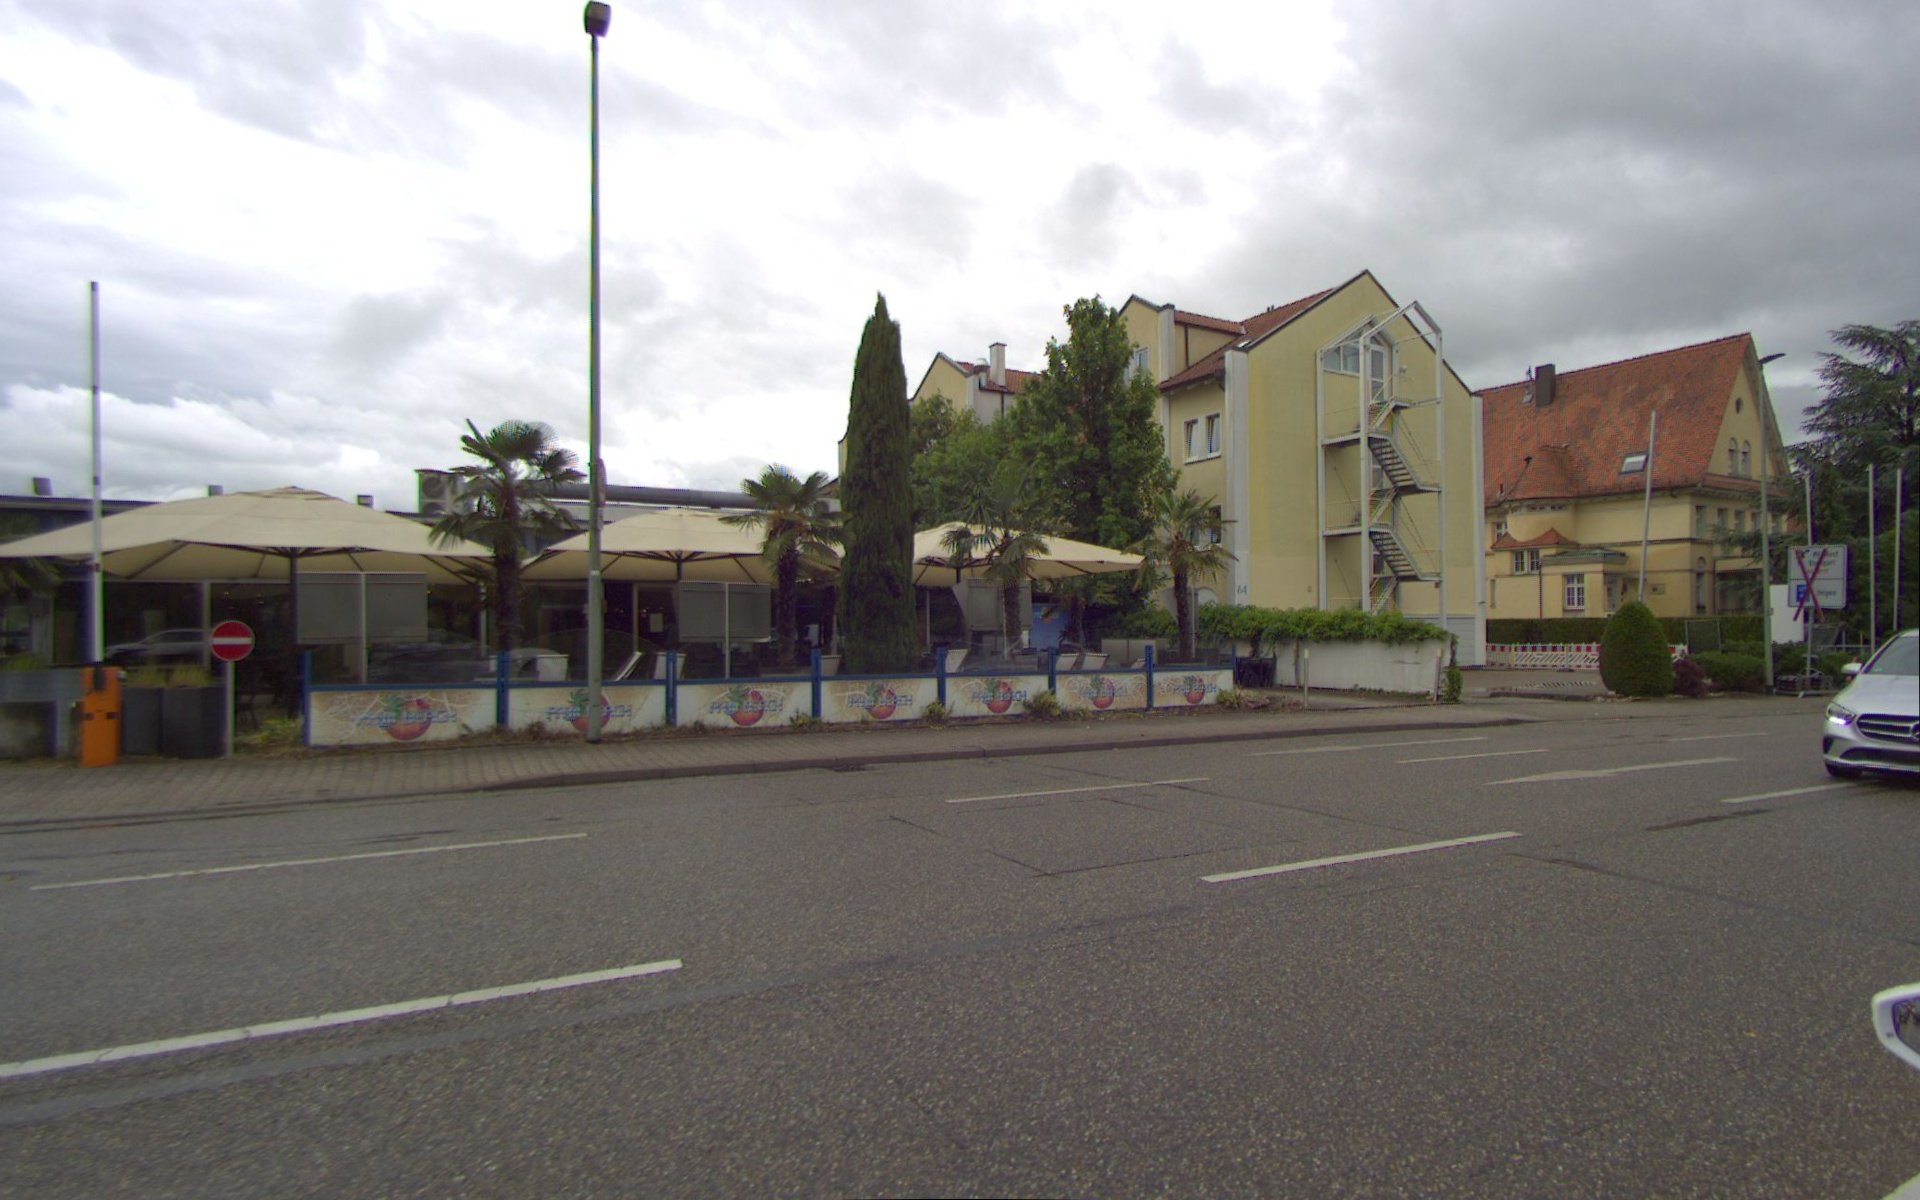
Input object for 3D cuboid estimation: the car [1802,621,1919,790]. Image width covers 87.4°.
[{"bbox_3d":[10.491,1.020,10.332,4.258,1.528,1.739,2,-2,-35],"label":"car"}]
